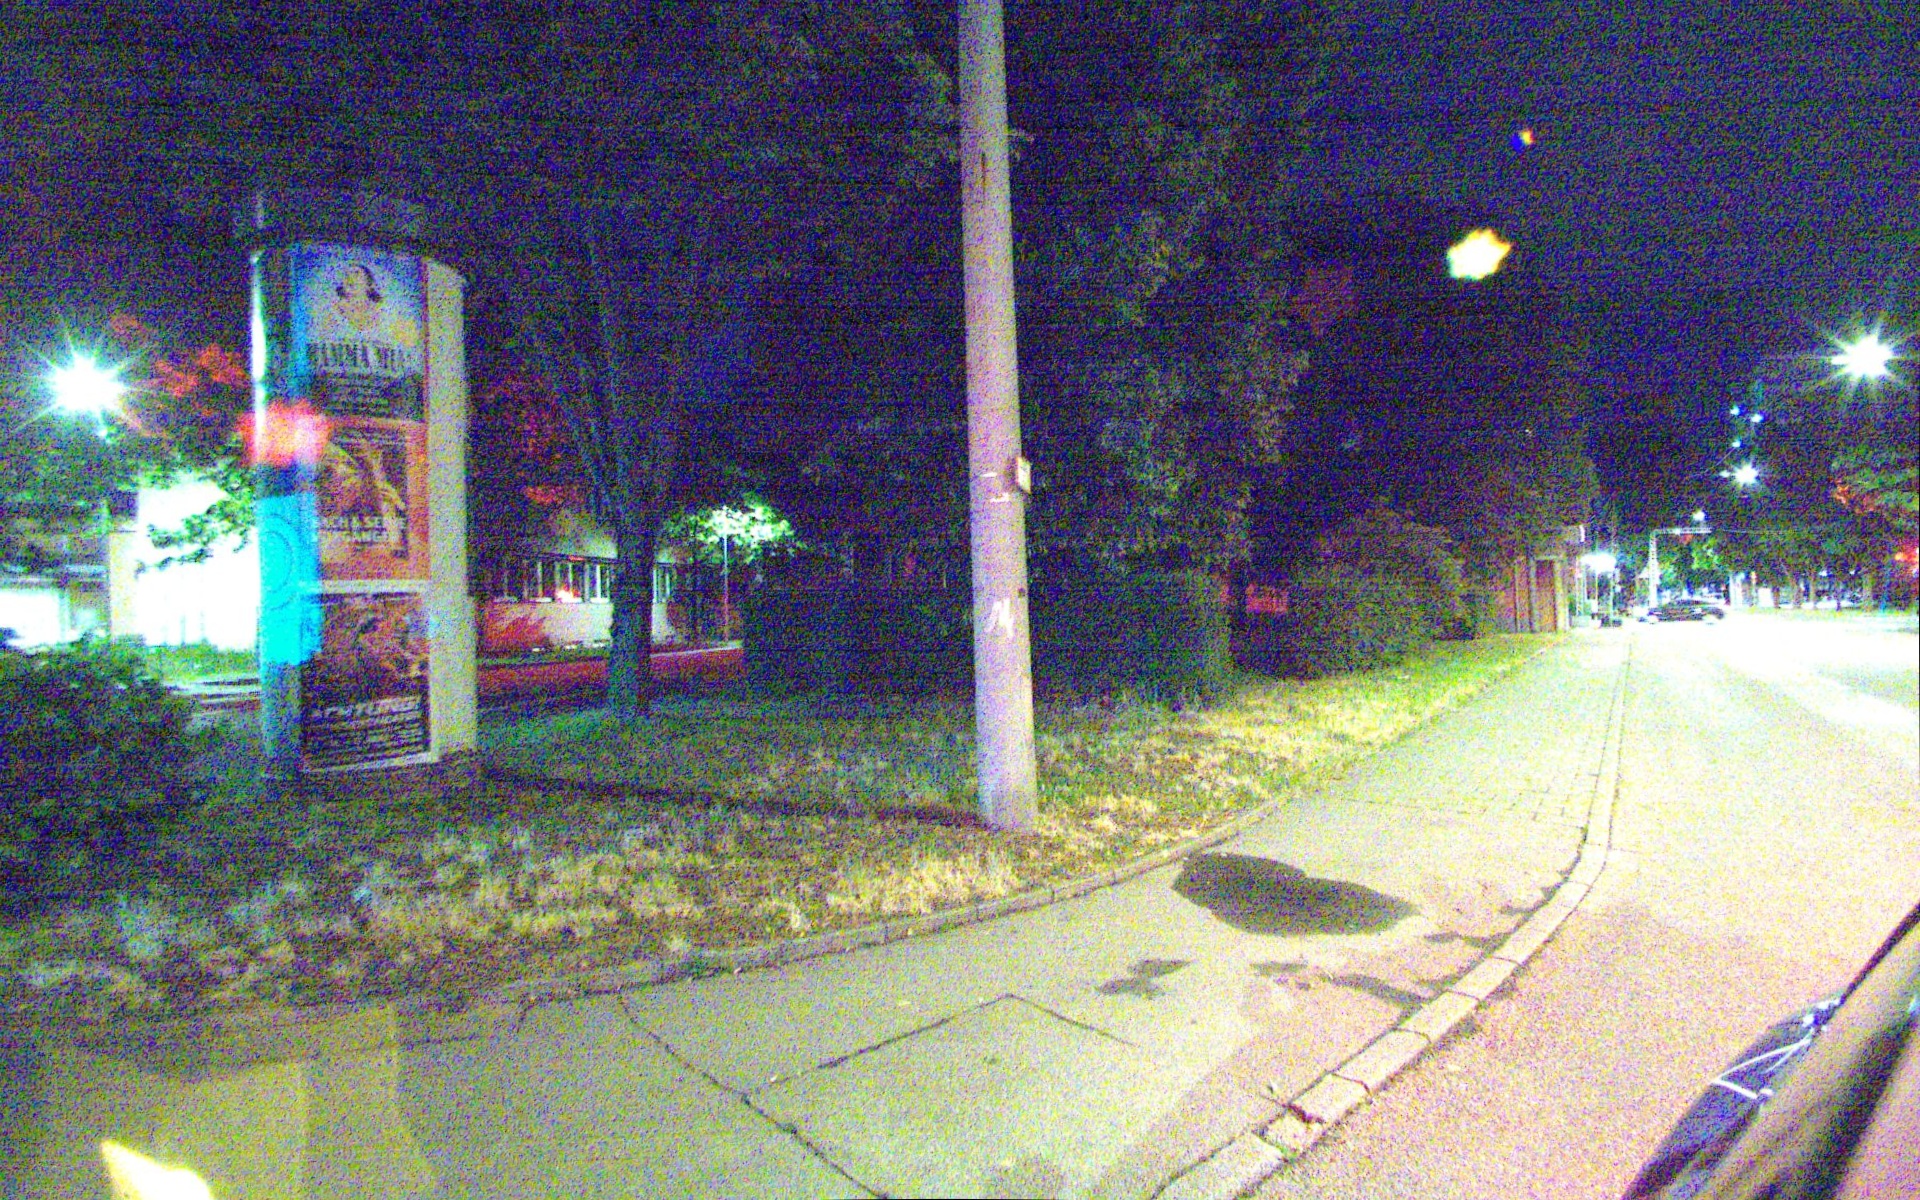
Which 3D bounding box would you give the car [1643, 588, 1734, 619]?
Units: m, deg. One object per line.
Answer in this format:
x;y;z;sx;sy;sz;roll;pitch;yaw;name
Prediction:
40.487;0.190;56.334;3.971;1.653;1.852;-1;-1;34;car
